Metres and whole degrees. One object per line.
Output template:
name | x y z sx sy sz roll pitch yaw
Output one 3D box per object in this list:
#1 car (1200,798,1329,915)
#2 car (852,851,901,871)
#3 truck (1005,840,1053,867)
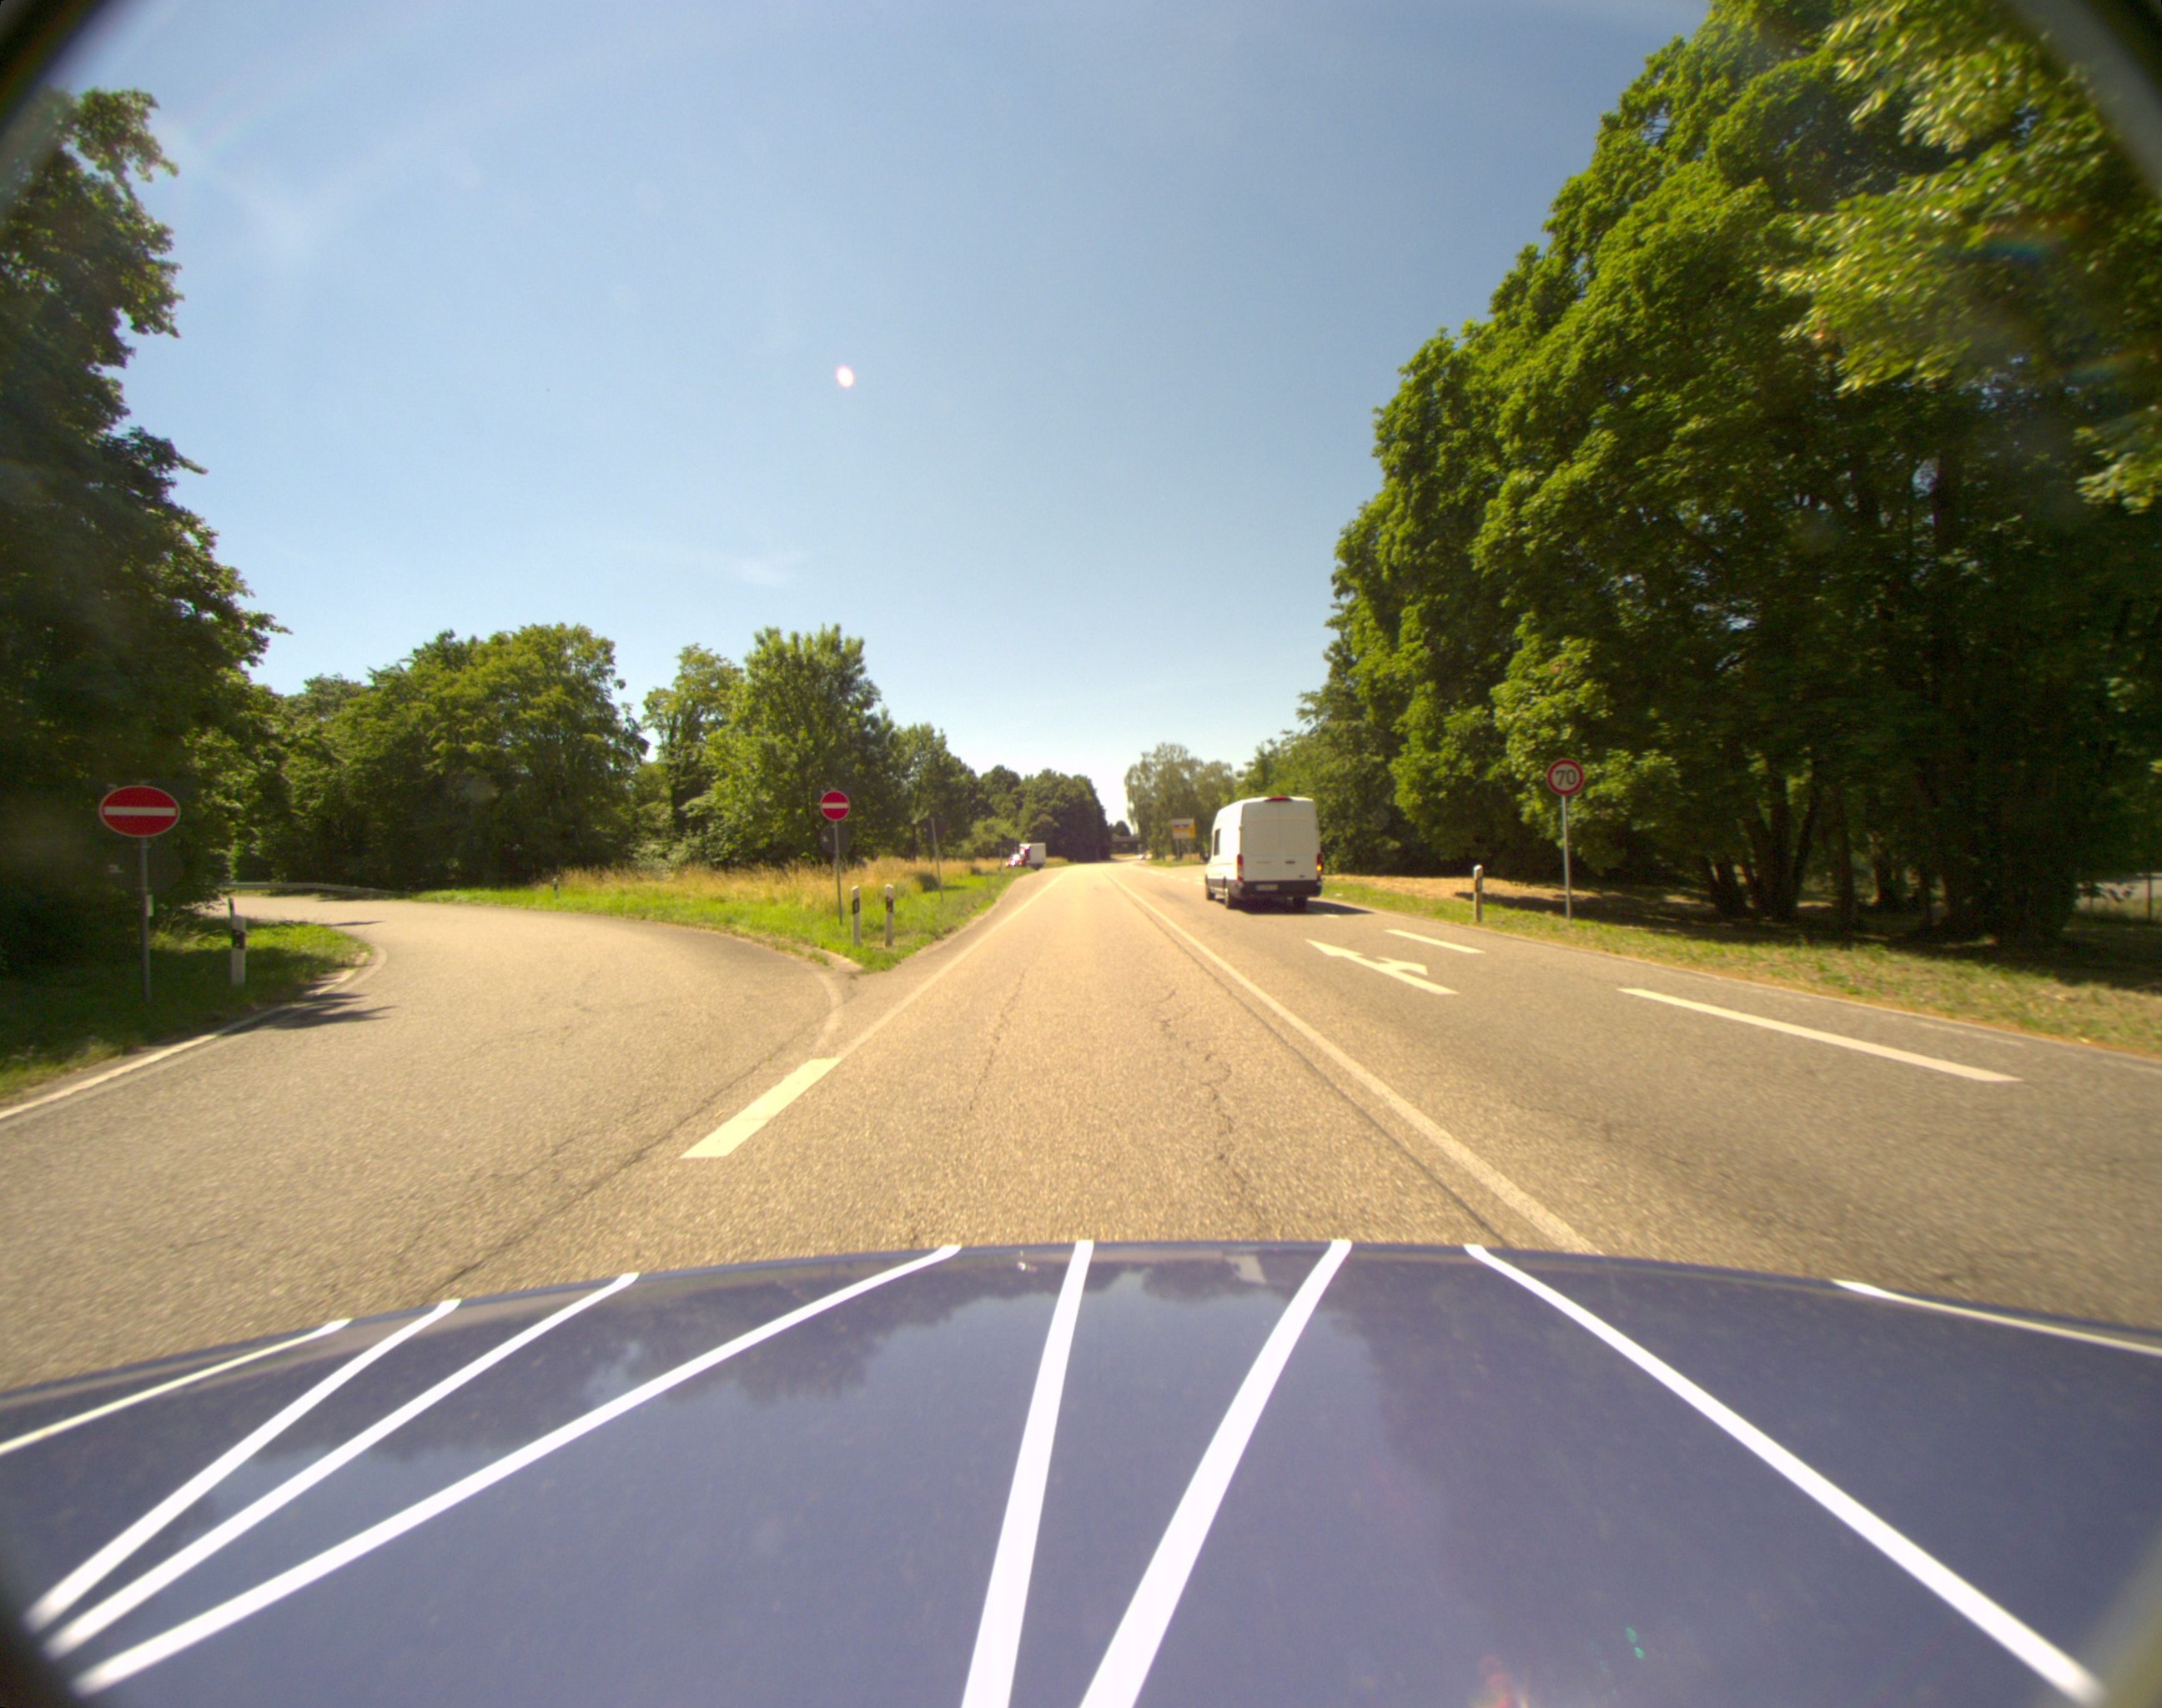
car | 4.724 0.023 20.793 2.078 2.612 6.784 -2 1 2
car | -19.023 0.649 70.779 4.008 1.833 1.743 -1 1 -43
truck | -5.988 -0.073 88.083 2.454 2.927 6.985 -1 1 24
